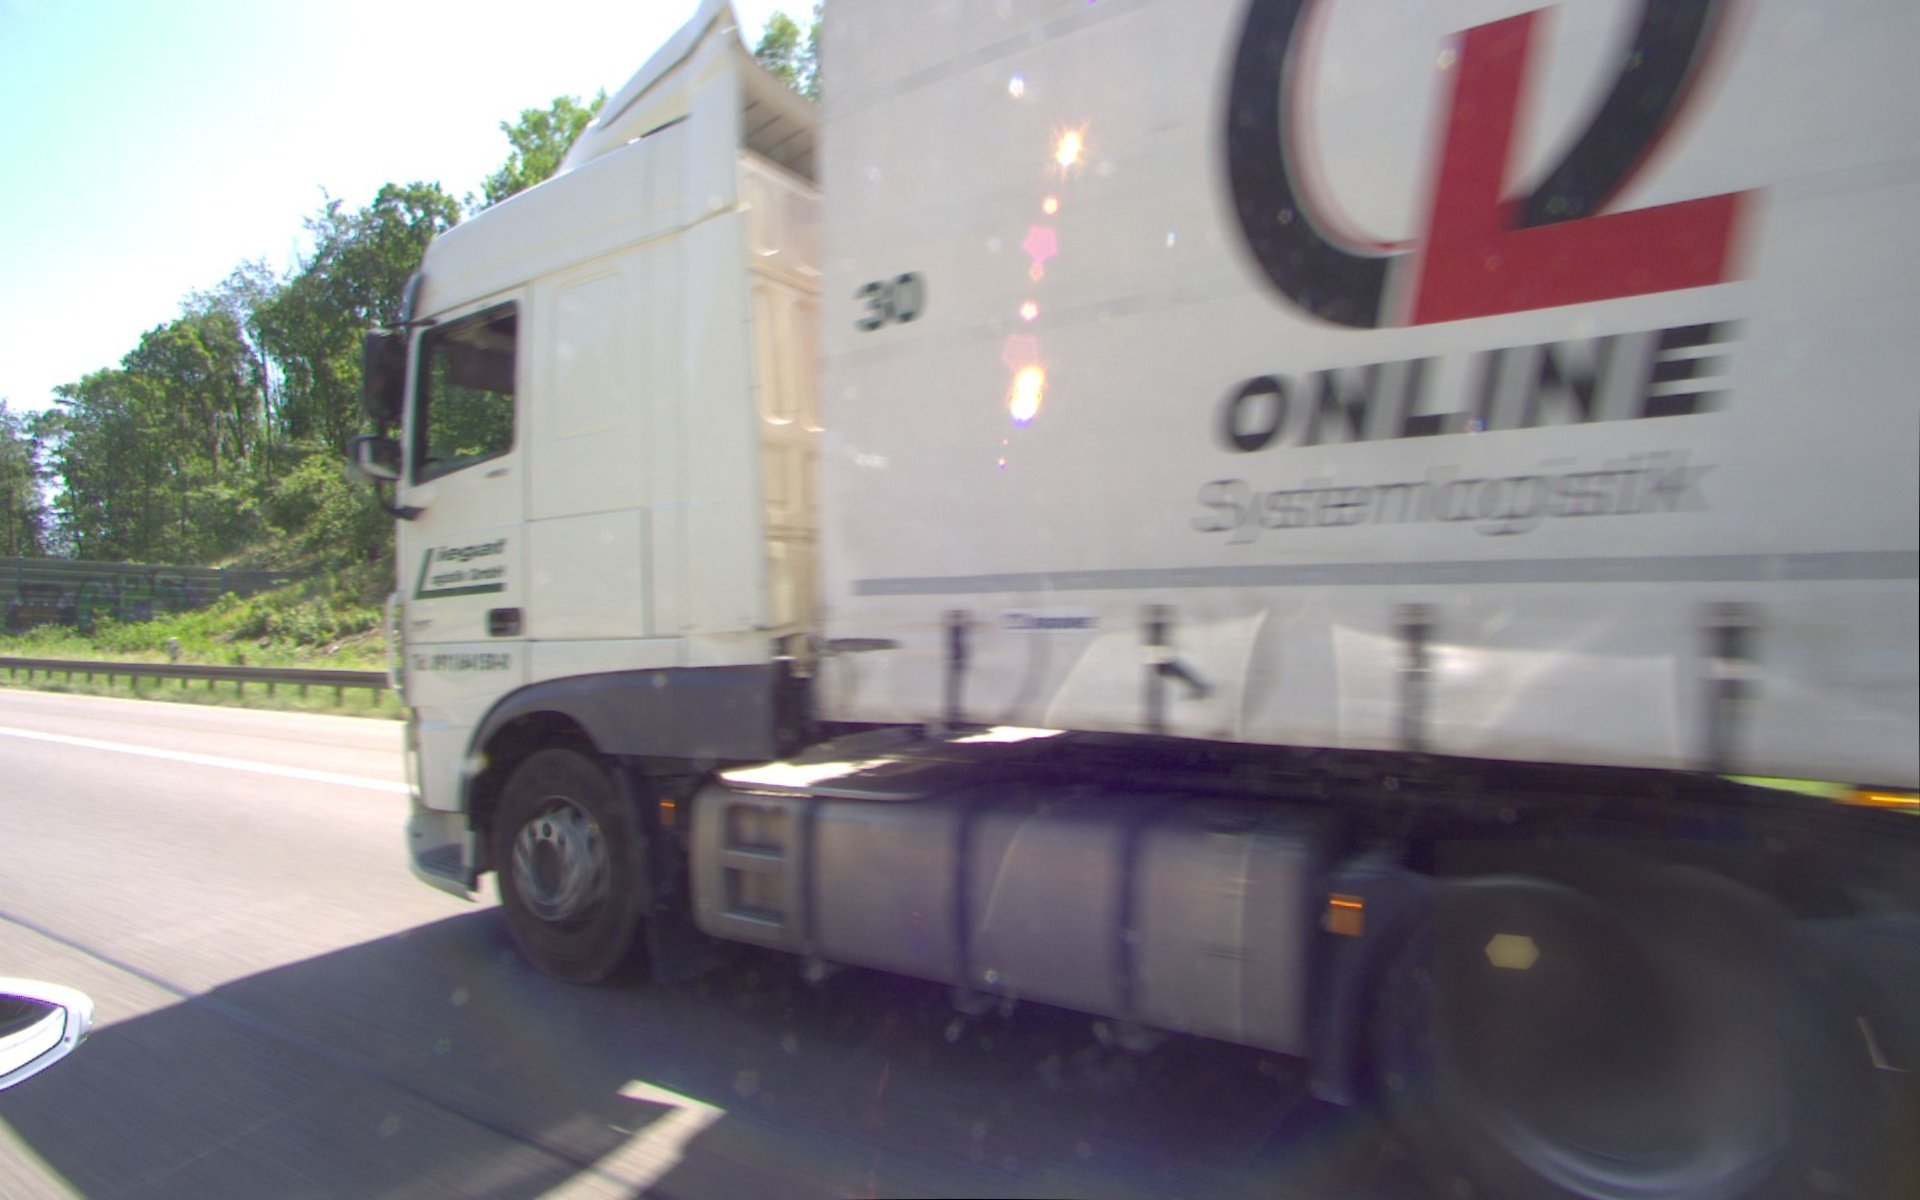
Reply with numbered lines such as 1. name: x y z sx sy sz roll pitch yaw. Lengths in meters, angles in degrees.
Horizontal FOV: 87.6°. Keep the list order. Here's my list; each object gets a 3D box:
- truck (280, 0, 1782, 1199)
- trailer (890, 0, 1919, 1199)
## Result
1. truck: -0.169 -0.480 4.644 5.784 4.259 2.782 0 -1 32
2. trailer: 6.076 -0.657 0.731 13.050 4.259 2.781 0 -1 32
